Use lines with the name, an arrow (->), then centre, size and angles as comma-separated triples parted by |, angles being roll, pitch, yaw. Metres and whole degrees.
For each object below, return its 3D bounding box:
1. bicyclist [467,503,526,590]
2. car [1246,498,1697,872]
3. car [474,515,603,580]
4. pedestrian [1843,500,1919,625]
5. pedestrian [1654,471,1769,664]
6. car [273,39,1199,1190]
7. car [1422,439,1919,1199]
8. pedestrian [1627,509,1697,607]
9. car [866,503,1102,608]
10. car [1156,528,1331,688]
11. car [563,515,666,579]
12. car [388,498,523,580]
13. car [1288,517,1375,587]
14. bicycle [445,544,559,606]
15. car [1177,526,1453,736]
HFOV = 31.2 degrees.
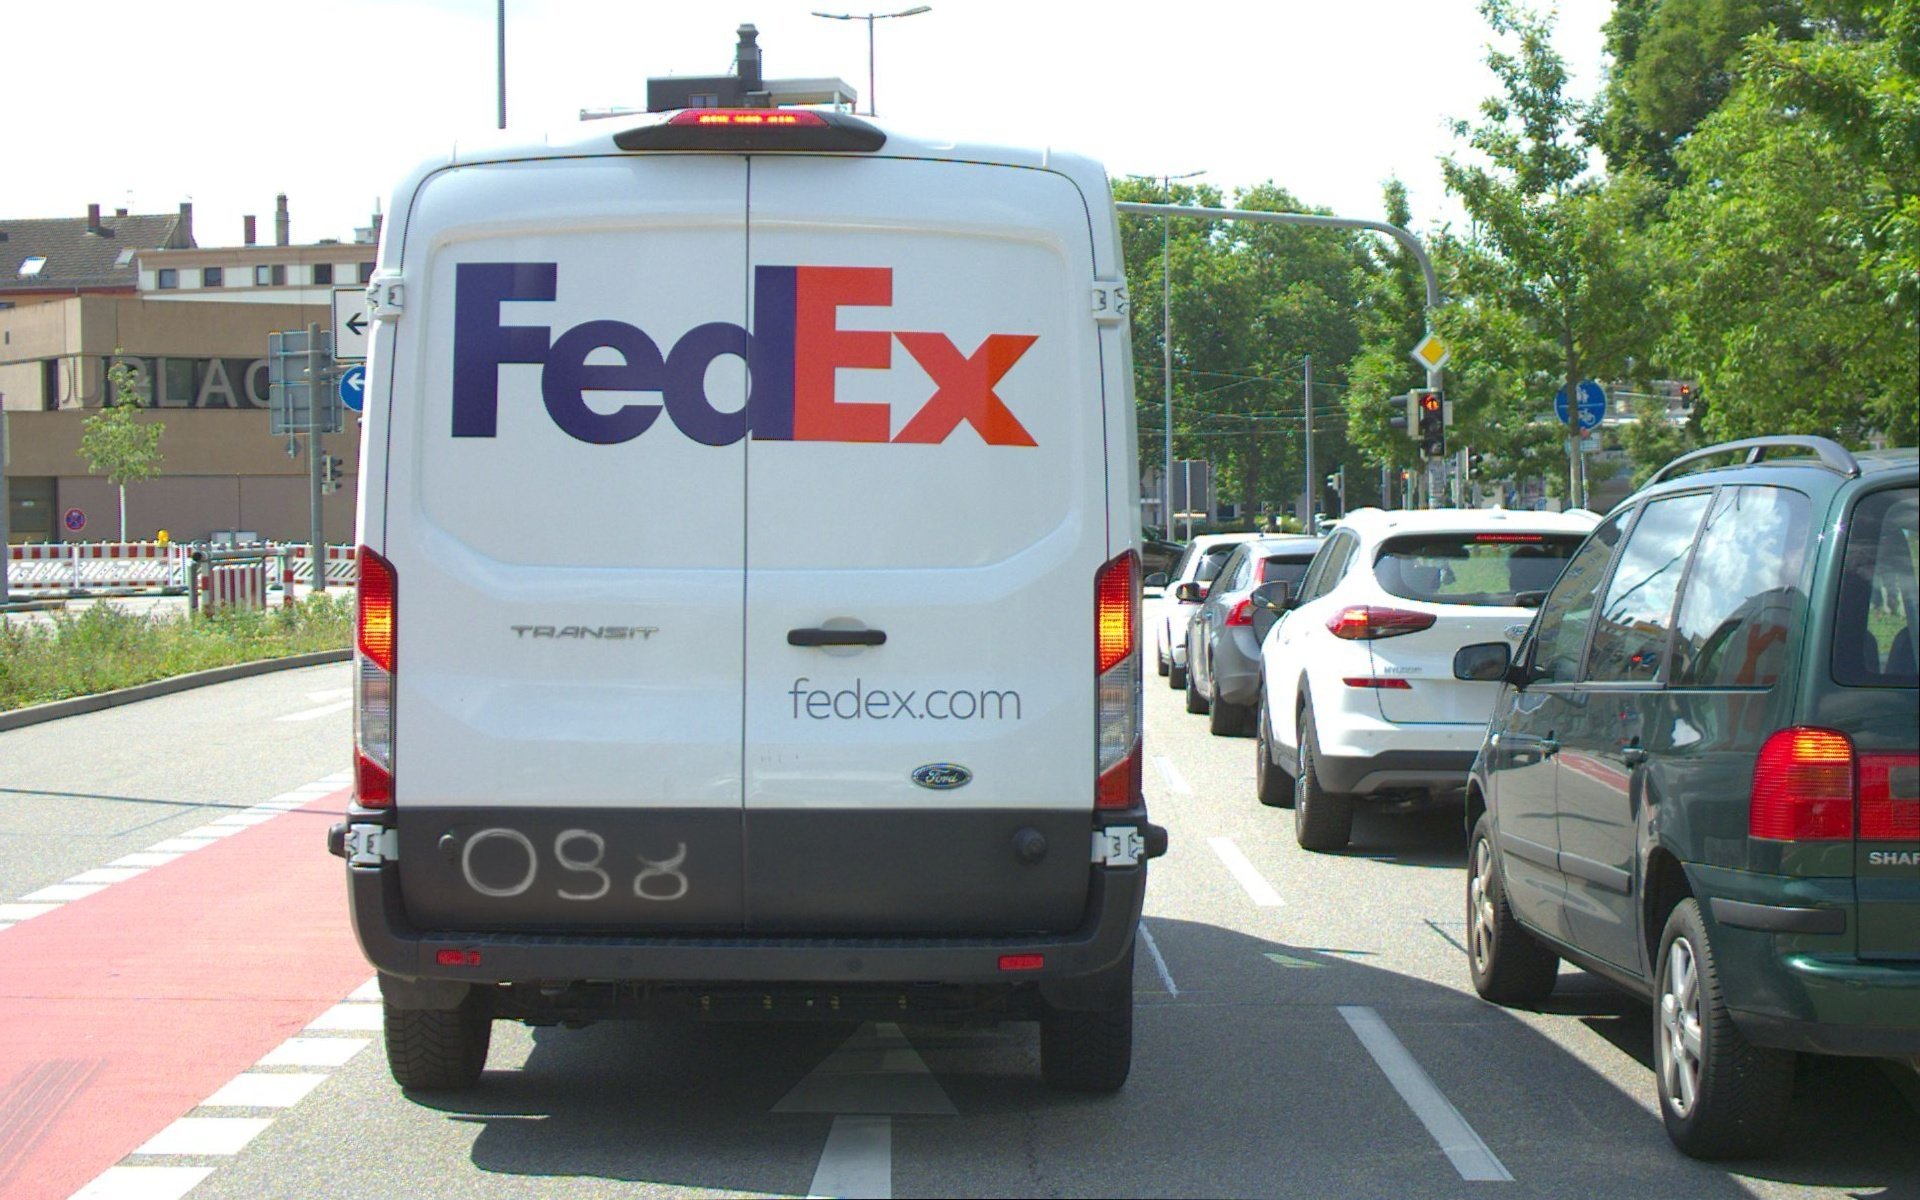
bicyclist -> -7.905, -0.921, 58.688 | 0.967, 1.469, 0.551 | -1, 1, -7
car -> 2.482, 0.333, 17.564 | 1.798, 1.681, 4.000 | 0, 2, 1
car -> -10.615, -1.325, 86.837 | 1.902, 1.579, 3.998 | -1, 1, 14
pedestrian -> 11.579, -0.473, 43.012 | 0.845, 1.533, 0.835 | -1, 1, -1
pedestrian -> 7.444, -0.331, 34.082 | 0.950, 1.886, 0.774 | -1, 1, -1
car -> -0.733, -0.023, 10.824 | 2.140, 2.643, 5.705 | 0, 1, -5
car -> 2.520, 0.461, 9.611 | 1.812, 1.728, 4.389 | 0, 2, -1
pedestrian -> 10.113, -0.610, 49.543 | 0.845, 1.384, 0.741 | -1, 1, -1
car -> 0.517, -0.901, 68.083 | 2.098, 2.007, 4.632 | 0, 1, 42
car -> 2.685, 0.037, 33.107 | 1.484, 1.423, 3.433 | 0, 2, 1
car -> -9.322, -1.434, 93.023 | 1.879, 1.646, 3.999 | -1, 1, 8
car -> -12.820, -1.552, 87.573 | 1.995, 2.007, 3.998 | -1, 1, 14
car -> 9.941, -1.286, 91.685 | 1.994, 1.787, 4.370 | -1, 1, 10
bicycle -> -7.818, -0.430, 58.705 | 1.920, 1.027, 0.548 | -1, 1, -7
car -> 2.644, 0.182, 26.352 | 1.798, 1.456, 3.838 | 0, 2, 1
